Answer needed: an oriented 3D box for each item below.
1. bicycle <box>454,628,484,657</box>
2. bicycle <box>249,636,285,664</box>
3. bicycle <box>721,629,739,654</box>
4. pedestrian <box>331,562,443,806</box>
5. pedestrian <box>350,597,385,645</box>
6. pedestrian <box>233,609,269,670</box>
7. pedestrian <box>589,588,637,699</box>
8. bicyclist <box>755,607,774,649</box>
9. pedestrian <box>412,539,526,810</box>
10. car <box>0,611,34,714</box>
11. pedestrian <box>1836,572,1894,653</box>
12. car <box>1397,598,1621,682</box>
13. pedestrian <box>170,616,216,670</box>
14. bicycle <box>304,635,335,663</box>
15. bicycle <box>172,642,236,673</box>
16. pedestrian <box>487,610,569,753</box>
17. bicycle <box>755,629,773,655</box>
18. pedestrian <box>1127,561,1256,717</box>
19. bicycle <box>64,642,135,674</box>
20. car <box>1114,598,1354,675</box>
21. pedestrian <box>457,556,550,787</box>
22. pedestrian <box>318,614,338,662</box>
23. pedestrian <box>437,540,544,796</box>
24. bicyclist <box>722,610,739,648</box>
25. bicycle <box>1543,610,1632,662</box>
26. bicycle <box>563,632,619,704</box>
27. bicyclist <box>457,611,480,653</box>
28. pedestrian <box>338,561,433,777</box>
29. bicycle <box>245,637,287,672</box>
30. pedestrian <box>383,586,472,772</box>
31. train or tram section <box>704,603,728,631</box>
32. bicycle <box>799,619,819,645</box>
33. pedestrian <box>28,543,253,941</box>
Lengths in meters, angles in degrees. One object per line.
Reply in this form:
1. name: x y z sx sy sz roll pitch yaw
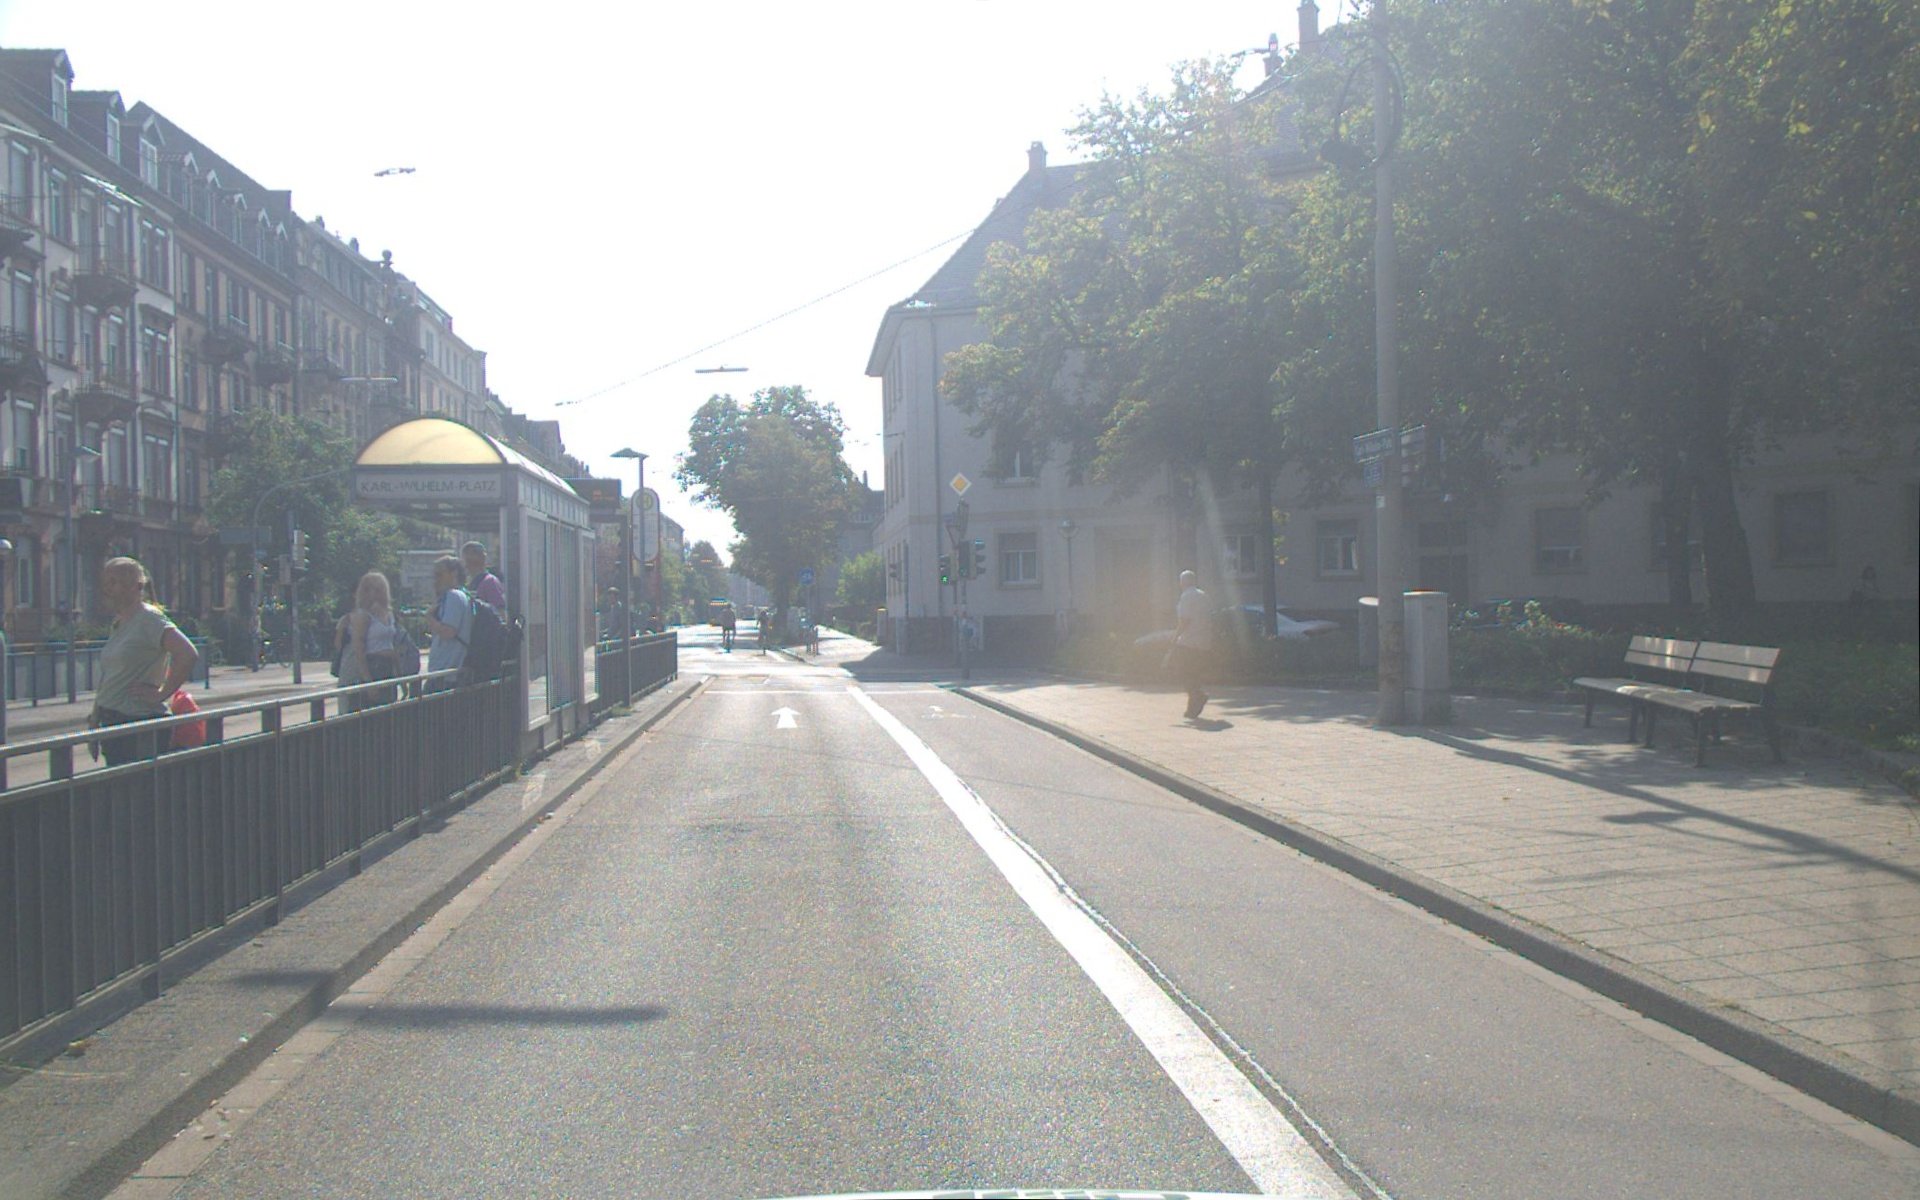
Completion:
1. bicycle: -19.632 1.703 66.173 0.670 1.123 2.067 -1 0 -4
2. bicycle: -23.026 1.667 54.978 0.516 0.875 1.827 -1 0 -3
3. bicycle: -8.708 1.578 62.636 0.614 0.925 1.522 1 -1 -7
4. pedestrian: -4.313 0.615 12.477 0.624 1.778 0.633 -1 -1 -4
5. pedestrian: -22.194 0.782 61.994 0.887 1.797 1.185 -1 -1 -3
6. pedestrian: -21.996 1.219 51.317 0.714 1.838 1.091 -1 -1 -8
7. pedestrian: -5.713 0.706 27.252 0.676 1.797 0.795 -1 -1 -8
8. bicyclist: -7.114 1.017 60.146 0.642 1.500 0.907 1 -1 -7
9. pedestrian: -3.521 0.521 11.905 0.624 1.880 0.633 -1 -1 -4
10. car: -16.561 1.029 25.802 1.954 1.680 4.477 -1 0 -5
11. pedestrian: 19.427 0.263 35.501 0.680 1.701 0.856 -1 -1 -33
12. car: 10.749 0.764 32.535 1.736 1.477 3.832 -3 1 -40
13. pedestrian: -23.155 1.300 49.939 0.823 1.598 0.944 -1 -1 27
14. bicycle: -23.075 1.768 59.600 0.516 0.944 1.701 -1 0 -3
15. bicycle: -23.395 1.776 51.204 0.516 0.875 1.824 -1 0 32
16. pedestrian: -4.361 0.806 16.730 0.694 1.402 0.622 -1 -1 -7
17. bicycle: -7.128 1.513 60.150 0.642 0.925 1.772 1 -1 -7
18. pedestrian: 2.780 0.466 19.902 1.066 1.754 0.959 -4 0 -31
19. bicycle: -25.050 1.675 48.191 0.516 0.875 1.824 -1 0 32
20. car: 6.015 0.815 36.573 4.852 1.494 1.871 -2 2 35
21. pedestrian: -3.662 0.563 13.288 0.577 1.795 0.606 -1 -1 -4
22. pedestrian: -22.979 1.374 60.170 0.627 1.708 0.630 -1 -1 -18
23. pedestrian: -3.557 0.506 12.571 0.624 1.880 0.633 -1 -1 -4
24. bicyclist: -8.701 1.102 62.656 0.614 1.425 0.928 1 -1 -7
25. bicycle: 13.886 0.783 36.642 0.602 1.076 1.814 -1 1 -38
26. bicycle: -6.071 1.099 27.299 0.462 1.123 1.738 -1 0 2
27. bicyclist: -19.672 1.277 66.233 0.660 1.642 1.043 -1 -1 -4
28. pedestrian: -4.788 0.563 13.801 0.577 1.751 0.606 -1 -1 -4
29. bicycle: -21.646 1.689 51.602 0.606 1.024 2.147 -1 0 -6
30. pedestrian: -4.648 0.678 14.459 0.577 1.571 0.606 -1 -1 -4
31. train or tram section: -33.215 2.327 225.353 2.682 3.567 15.409 -1 -1 -7
32. bicycle: -6.820 1.448 74.555 0.757 1.123 2.328 -1 0 -9
33. pedestrian: -3.722 0.604 7.585 0.800 1.683 0.862 -1 0 -20
